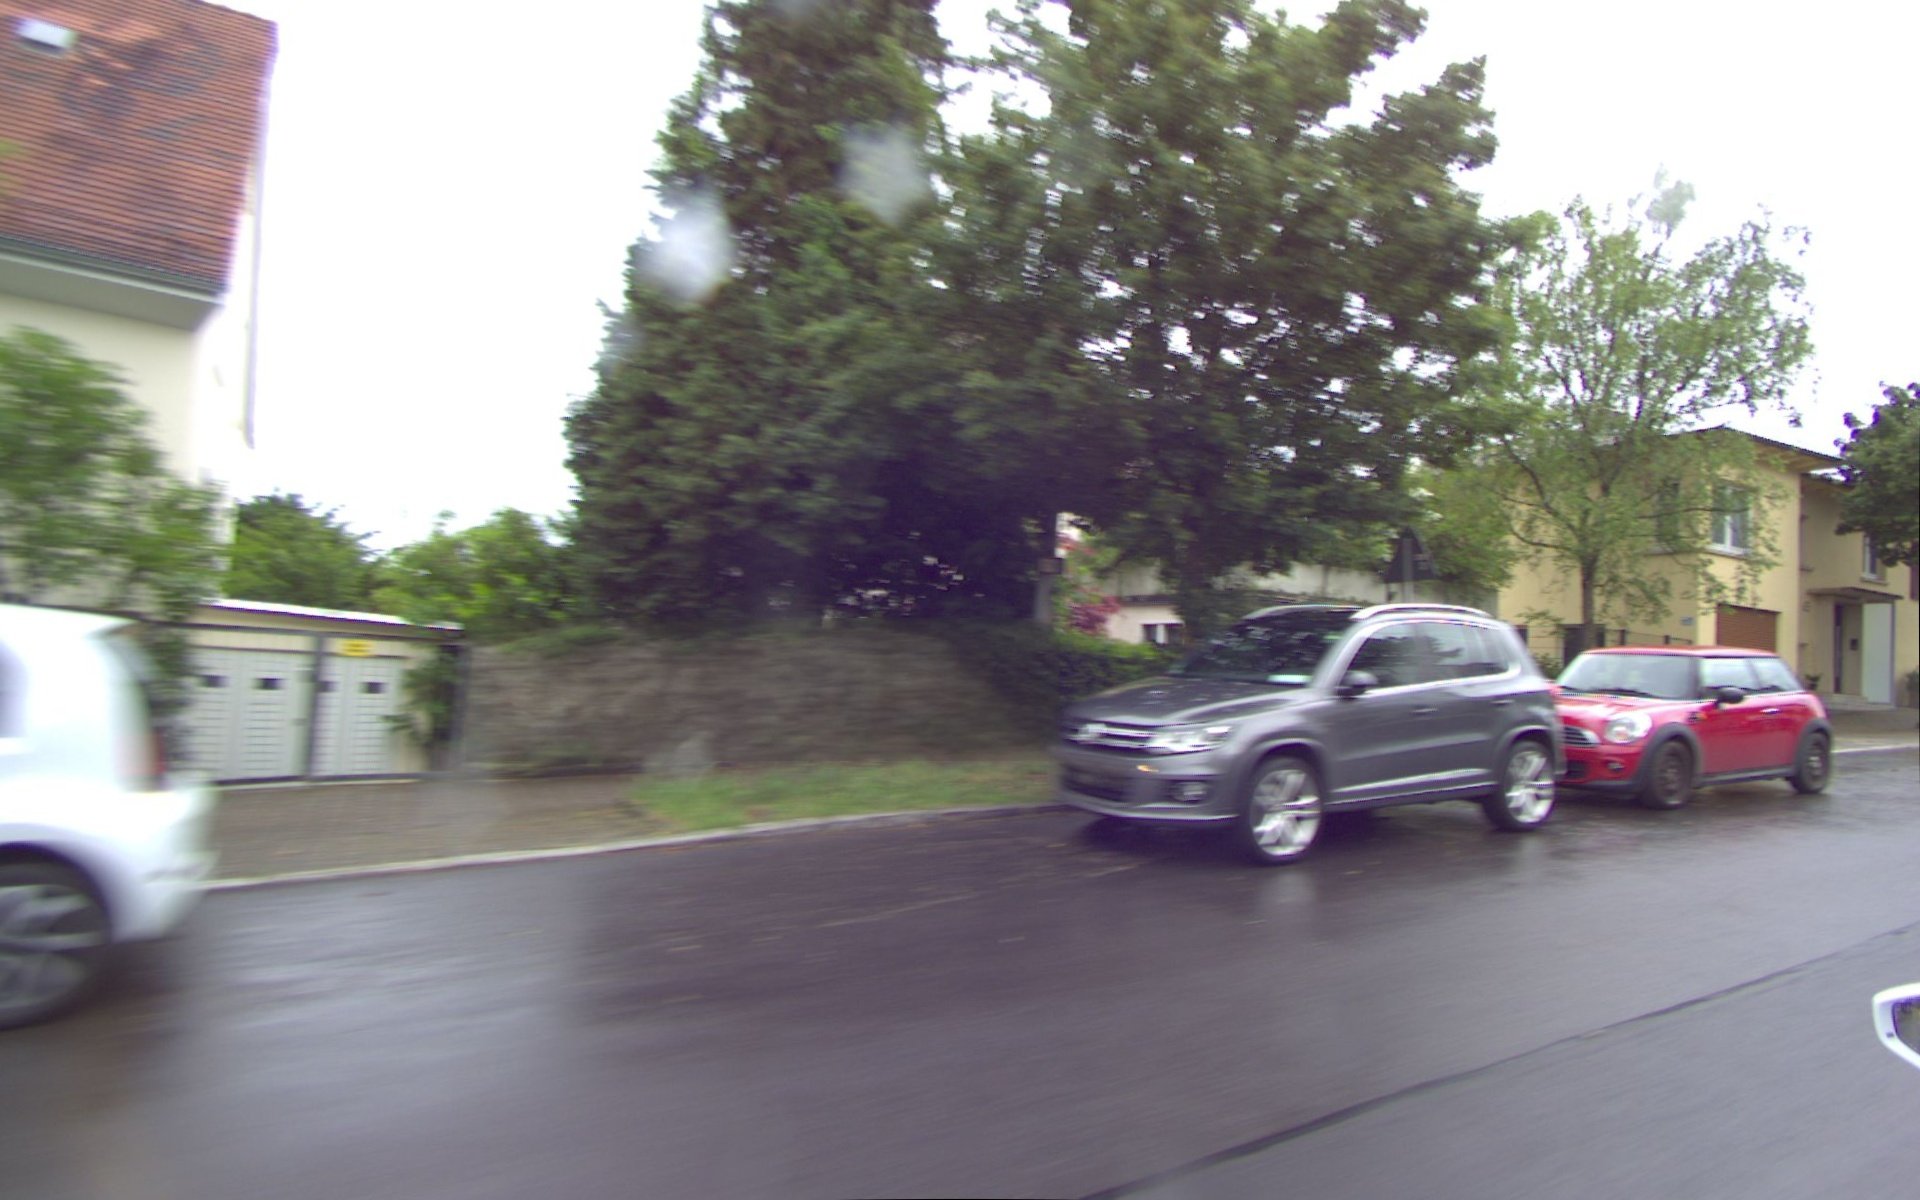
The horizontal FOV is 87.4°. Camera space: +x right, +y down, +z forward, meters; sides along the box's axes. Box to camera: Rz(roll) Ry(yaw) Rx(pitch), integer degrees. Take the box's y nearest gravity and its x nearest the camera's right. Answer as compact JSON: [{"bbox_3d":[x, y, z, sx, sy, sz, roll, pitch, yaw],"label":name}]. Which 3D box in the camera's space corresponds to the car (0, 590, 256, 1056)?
[{"bbox_3d":[-4.698,0.677,3.170,3.958,1.486,1.723,2,0,-34],"label":"car"}]

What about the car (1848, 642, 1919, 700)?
[{"bbox_3d":[28.926,2.091,29.395,1.837,1.667,4.044,2,-2,-23],"label":"car"}]

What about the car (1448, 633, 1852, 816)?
[{"bbox_3d":[6.785,1.106,9.850,3.816,1.491,1.676,2,-3,-27],"label":"car"}]

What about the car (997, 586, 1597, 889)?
[{"bbox_3d":[2.601,0.866,7.488,4.373,1.690,1.793,2,-3,-29],"label":"car"}]
